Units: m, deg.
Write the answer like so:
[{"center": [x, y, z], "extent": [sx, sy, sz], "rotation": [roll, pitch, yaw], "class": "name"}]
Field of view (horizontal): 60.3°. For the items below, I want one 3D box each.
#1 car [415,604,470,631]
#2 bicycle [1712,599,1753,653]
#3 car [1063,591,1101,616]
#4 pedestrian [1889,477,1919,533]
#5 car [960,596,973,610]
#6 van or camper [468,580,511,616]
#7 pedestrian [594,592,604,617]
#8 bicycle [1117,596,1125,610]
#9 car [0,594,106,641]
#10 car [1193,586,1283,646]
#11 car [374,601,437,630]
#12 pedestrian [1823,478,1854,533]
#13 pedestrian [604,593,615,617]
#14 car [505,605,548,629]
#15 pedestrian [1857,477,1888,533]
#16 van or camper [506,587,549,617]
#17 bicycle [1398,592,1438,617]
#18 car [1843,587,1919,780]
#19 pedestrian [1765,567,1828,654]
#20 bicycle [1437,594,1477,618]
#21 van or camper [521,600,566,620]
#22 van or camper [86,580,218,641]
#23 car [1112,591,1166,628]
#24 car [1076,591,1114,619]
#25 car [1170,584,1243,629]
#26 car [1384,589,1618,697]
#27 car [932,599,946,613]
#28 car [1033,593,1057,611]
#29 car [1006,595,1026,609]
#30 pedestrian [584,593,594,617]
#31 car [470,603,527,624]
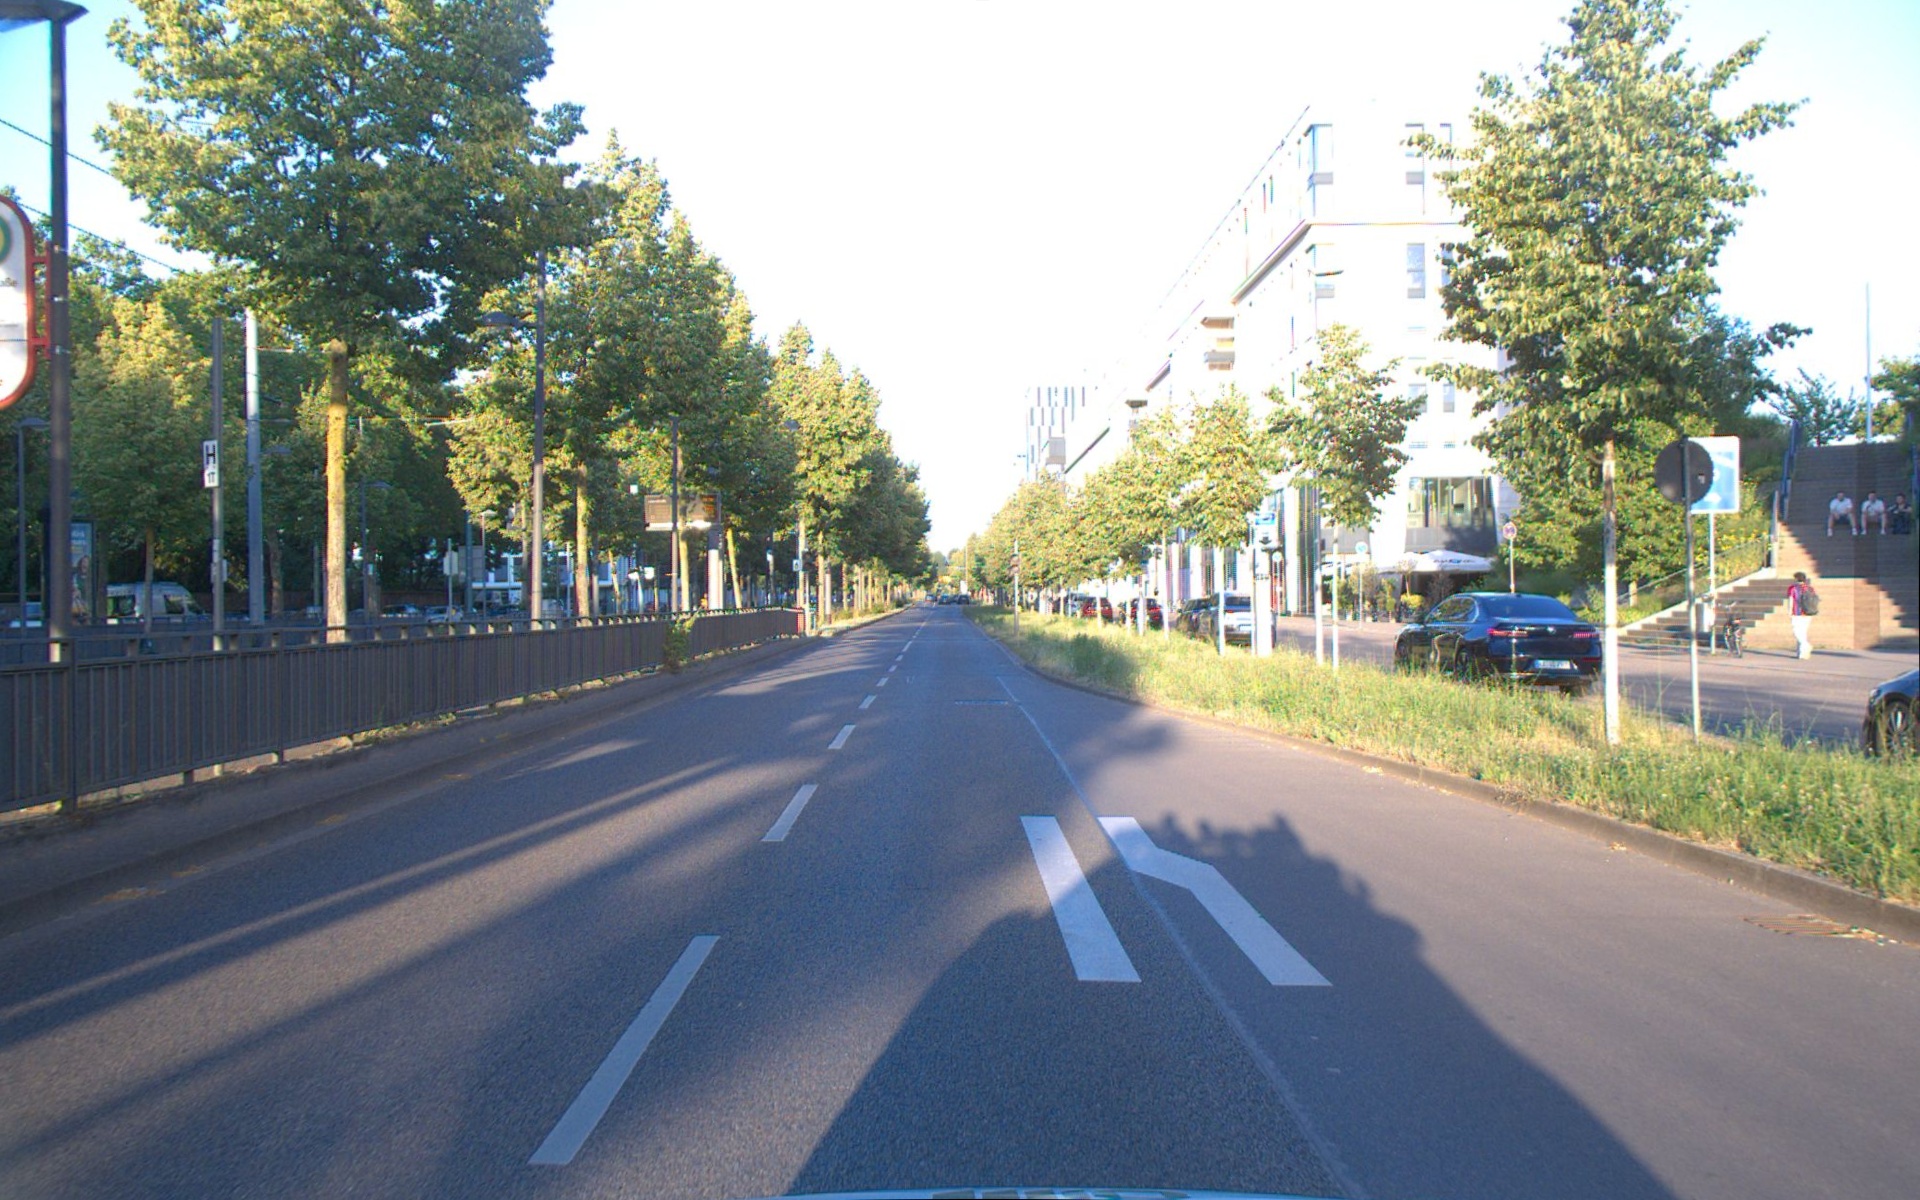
[{"center": [-30.768, 1.013, 98.470], "extent": [1.861, 1.525, 4.306], "rotation": [-1, 0, 0], "class": "car"}, {"center": [15.995, 0.523, 34.288], "extent": [0.532, 1.061, 1.913], "rotation": [-1, 0, 18], "class": "bicycle"}, {"center": [7.637, 0.208, 103.622], "extent": [1.882, 1.527, 5.008], "rotation": [-1, 0, -1], "class": "car"}, {"center": [24.150, -2.421, 42.313], "extent": [0.655, 1.405, 0.825], "rotation": [1, 0, 31], "class": "pedestrian"}, {"center": [0.986, 0.429, 252.314], "extent": [1.953, 2.049, 3.999], "rotation": [-1, 0, -1], "class": "car"}, {"center": [-38.175, -0.169, 134.212], "extent": [2.043, 2.783, 5.493], "rotation": [-1, 0, -2], "class": "van or camper"}, {"center": [-27.764, 0.325, 127.118], "extent": [0.680, 1.903, 0.864], "rotation": [-1, 0, -8], "class": "pedestrian"}, {"center": [14.384, 0.269, 147.856], "extent": [0.527, 1.184, 1.781], "rotation": [-3, 0, 0], "class": "bicycle"}, {"center": [-41.390, 0.749, 75.484], "extent": [1.952, 2.049, 5.060], "rotation": [-1, 0, 3], "class": "car"}, {"center": [8.172, 0.434, 48.961], "extent": [1.772, 1.660, 4.675], "rotation": [-1, 0, -1], "class": "car"}, {"center": [-31.066, 0.854, 92.722], "extent": [1.953, 1.525, 4.557], "rotation": [-1, 0, 0], "class": "car"}, {"center": [22.914, -2.456, 43.137], "extent": [0.655, 1.405, 0.825], "rotation": [1, 0, 31], "class": "pedestrian"}, {"center": [-26.888, 0.378, 126.871], "extent": [0.679, 1.773, 0.866], "rotation": [-1, 0, -3], "class": "pedestrian"}, {"center": [-30.940, 1.205, 118.135], "extent": [1.765, 1.588, 3.840], "rotation": [-1, 0, 5], "class": "car"}, {"center": [23.519, -2.442, 42.626], "extent": [0.655, 1.405, 0.825], "rotation": [1, 1, 31], "class": "pedestrian"}, {"center": [-47.210, 0.206, 180.712], "extent": [2.653, 3.139, 6.265], "rotation": [0, 0, 3], "class": "van or camper"}, {"center": [21.933, 0.214, 79.216], "extent": [1.759, 1.127, 0.500], "rotation": [-1, 0, -5], "class": "bicycle"}, {"center": [8.533, 0.665, 12.001], "extent": [1.772, 1.527, 4.478], "rotation": [-1, 0, -1], "class": "car"}, {"center": [16.579, 0.198, 32.813], "extent": [0.681, 1.683, 1.078], "rotation": [-1, 0, -1], "class": "pedestrian"}, {"center": [23.890, 0.269, 79.508], "extent": [1.759, 1.127, 0.500], "rotation": [-1, 0, -5], "class": "bicycle"}, {"center": [-38.899, 0.923, 154.588], "extent": [3.915, 1.822, 1.995], "rotation": [-1, 0, -11], "class": "van or camper"}, {"center": [-33.038, 0.398, 67.831], "extent": [2.236, 2.406, 5.785], "rotation": [-1, 0, 4], "class": "van or camper"}, {"center": [7.769, 0.403, 72.069], "extent": [1.772, 1.527, 4.367], "rotation": [-1, 0, -1], "class": "car"}, {"center": [7.768, 0.281, 95.617], "extent": [1.772, 1.527, 3.958], "rotation": [-1, 0, -1], "class": "car"}, {"center": [8.082, 0.198, 54.504], "extent": [1.714, 1.422, 3.999], "rotation": [0, 0, -2], "class": "car"}, {"center": [8.497, 0.606, 26.576], "extent": [1.881, 1.527, 5.410], "rotation": [-1, 0, -1], "class": "car"}, {"center": [-3.121, 0.856, 244.122], "extent": [2.045, 2.049, 3.999], "rotation": [-1, 0, -1], "class": "car"}, {"center": [7.428, 0.176, 144.507], "extent": [1.772, 1.527, 4.824], "rotation": [-1, 0, -1], "class": "car"}, {"center": [6.366, 0.206, 188.484], "extent": [1.904, 1.576, 4.809], "rotation": [-1, 0, -3], "class": "car"}, {"center": [-28.436, 0.376, 126.736], "extent": [0.680, 1.789, 0.864], "rotation": [-1, 0, -8], "class": "pedestrian"}, {"center": [-30.040, 0.873, 107.791], "extent": [1.952, 1.338, 5.144], "rotation": [-1, 0, 3], "class": "car"}]
